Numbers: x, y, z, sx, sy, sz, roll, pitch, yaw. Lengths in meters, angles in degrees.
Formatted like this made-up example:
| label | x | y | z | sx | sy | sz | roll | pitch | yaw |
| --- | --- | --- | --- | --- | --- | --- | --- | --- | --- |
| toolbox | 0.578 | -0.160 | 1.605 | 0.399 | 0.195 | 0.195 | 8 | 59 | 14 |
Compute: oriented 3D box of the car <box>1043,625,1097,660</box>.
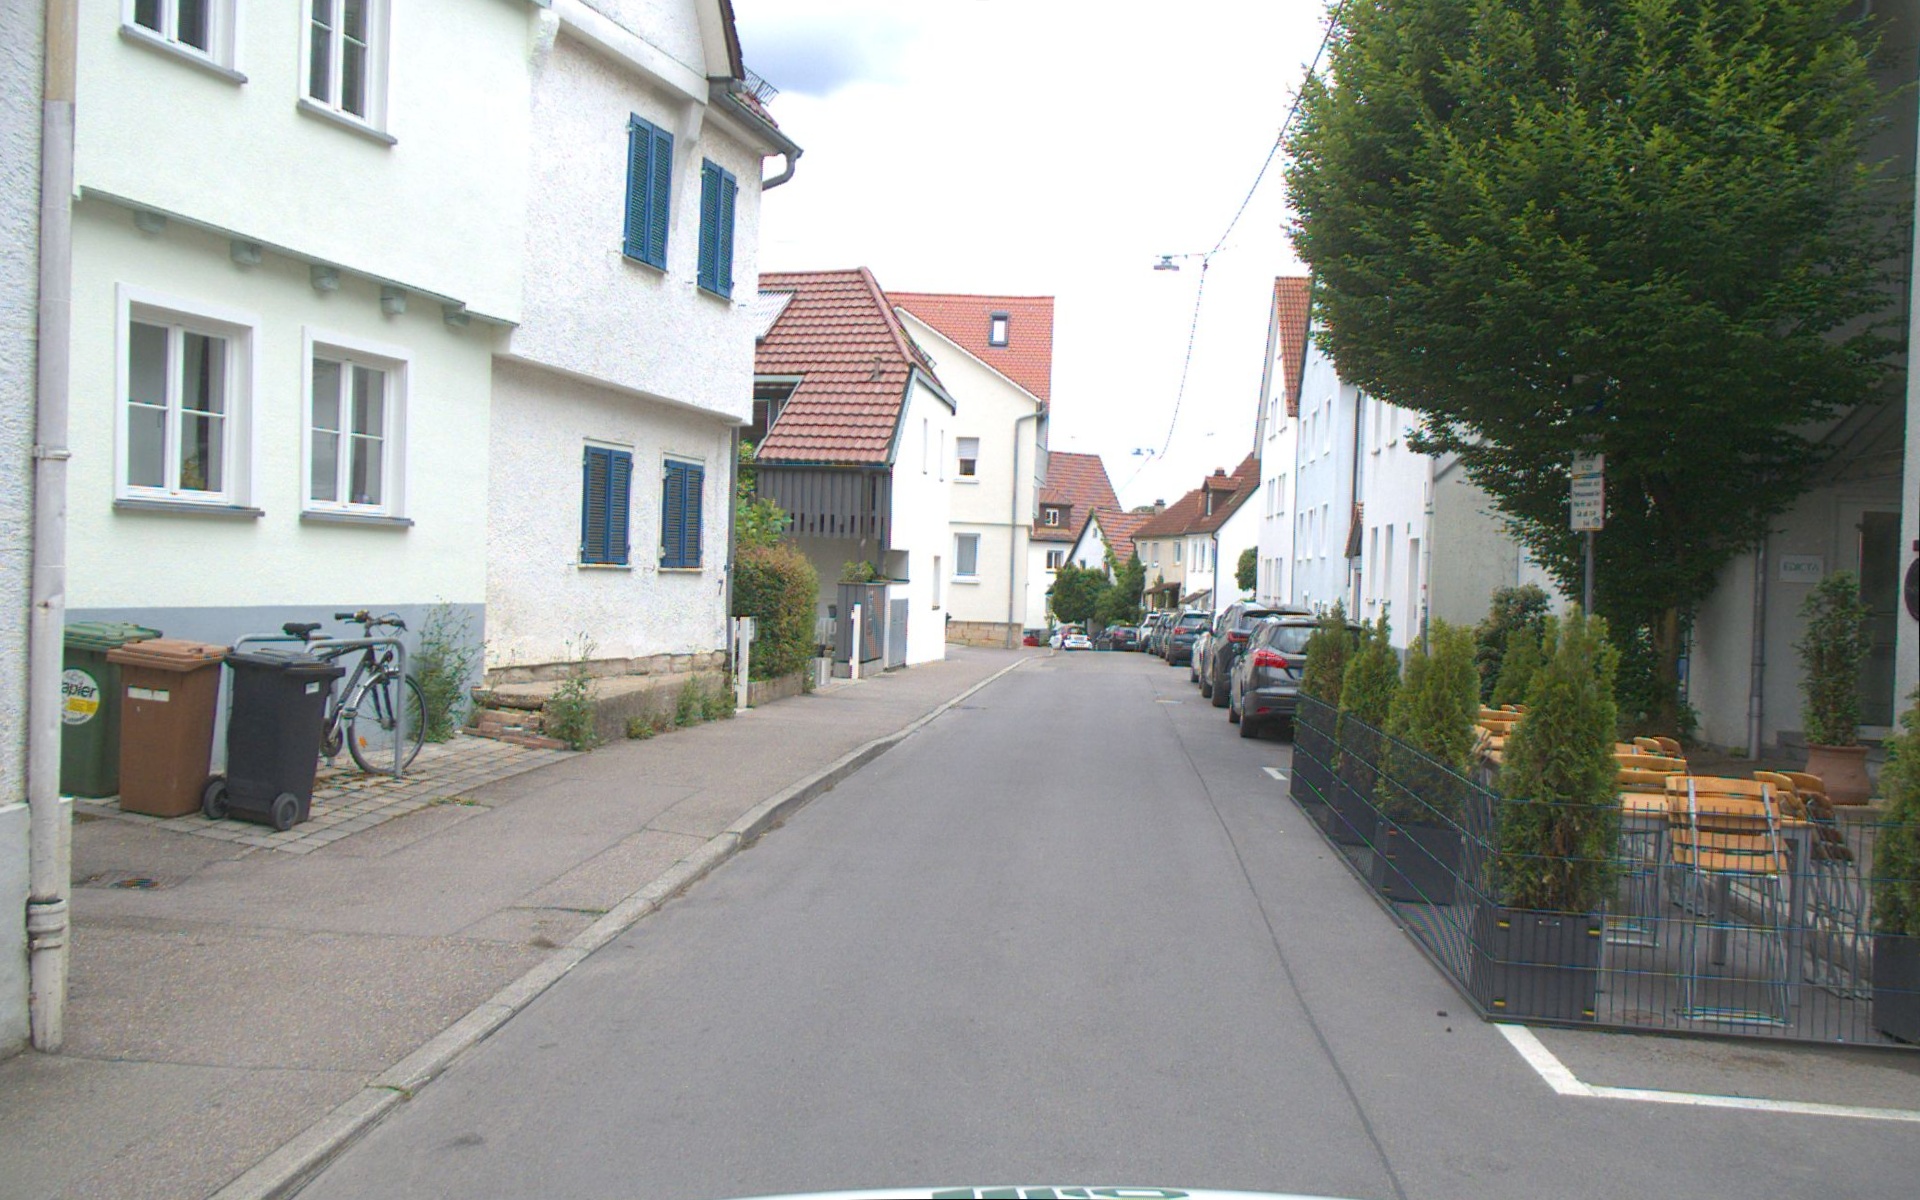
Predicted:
| label | x | y | z | sx | sy | sz | roll | pitch | yaw |
| --- | --- | --- | --- | --- | --- | --- | --- | --- | --- |
| car | 6.075 | 2.330 | 91.600 | 1.928 | 1.743 | 3.988 | 3 | 0 | -12 |

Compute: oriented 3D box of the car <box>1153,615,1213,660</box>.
| label | x | y | z | sx | sy | sz | roll | pitch | yaw |
| --- | --- | --- | --- | --- | --- | --- | --- | --- | --- |
| car | 7.565 | 1.292 | 56.370 | 1.759 | 1.376 | 4.076 | 3 | -2 | 5 |

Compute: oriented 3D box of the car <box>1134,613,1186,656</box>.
| label | x | y | z | sx | sy | sz | roll | pitch | yaw |
| --- | --- | --- | --- | --- | --- | --- | --- | --- | --- |
| car | 8.637 | 1.495 | 71.591 | 1.834 | 1.743 | 4.148 | 2 | -1 | 2 |

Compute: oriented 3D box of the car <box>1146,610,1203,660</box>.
| label | x | y | z | sx | sy | sz | roll | pitch | yaw |
| --- | --- | --- | --- | --- | --- | --- | --- | --- | --- |
| car | 7.947 | 1.305 | 61.579 | 1.700 | 1.638 | 4.001 | 5 | -1 | 3 |

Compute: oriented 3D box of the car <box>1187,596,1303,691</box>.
| label | x | y | z | sx | sy | sz | roll | pitch | yaw |
| --- | --- | --- | --- | --- | --- | --- | --- | --- | --- |
| car | 5.627 | 0.818 | 33.197 | 1.951 | 1.643 | 4.882 | 4 | 0 | 7 |

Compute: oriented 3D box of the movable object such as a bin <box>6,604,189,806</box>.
| label | x | y | z | sx | sy | sz | roll | pitch | yaw |
| --- | --- | --- | --- | --- | --- | --- | --- | --- | --- |
| movable object such as a bin | -4.860 | 0.572 | 9.341 | 0.544 | 1.016 | 0.623 | 8 | 2 | 15 |

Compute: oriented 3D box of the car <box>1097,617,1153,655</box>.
| label | x | y | z | sx | sy | sz | roll | pitch | yaw |
| --- | --- | --- | --- | --- | --- | --- | --- | --- | --- |
| car | 8.176 | 1.824 | 82.432 | 1.955 | 1.743 | 3.993 | 2 | -3 | -7 |

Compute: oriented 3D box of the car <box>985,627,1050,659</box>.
| label | x | y | z | sx | sy | sz | roll | pitch | yaw |
| --- | --- | --- | --- | --- | --- | --- | --- | --- | --- |
| car | 3.370 | 2.549 | 97.276 | 1.972 | 1.713 | 3.960 | -3 | -1 | -29 |

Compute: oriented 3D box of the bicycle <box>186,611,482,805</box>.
| label | x | y | z | sx | sy | sz | roll | pitch | yaw |
| --- | --- | --- | --- | --- | --- | --- | --- | --- | --- |
| bicycle | -3.895 | 0.625 | 10.497 | 0.433 | 1.056 | 2.093 | 7 | 2 | 19 |

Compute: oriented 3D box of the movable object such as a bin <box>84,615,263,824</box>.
| label | x | y | z | sx | sy | sz | roll | pitch | yaw |
| --- | --- | --- | --- | --- | --- | --- | --- | --- | --- |
| movable object such as a bin | -4.311 | 0.636 | 9.089 | 0.557 | 1.016 | 0.600 | 7 | 3 | 14 |

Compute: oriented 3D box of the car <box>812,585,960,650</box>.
| label | x | y | z | sx | sy | sz | roll | pitch | yaw |
| --- | --- | --- | --- | --- | --- | --- | --- | --- | --- |
| car | -2.035 | 0.508 | 46.220 | 3.652 | 1.436 | 2.122 | 5 | -1 | 10 |

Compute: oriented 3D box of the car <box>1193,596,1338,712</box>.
| label | x | y | z | sx | sy | sz | roll | pitch | yaw |
| --- | --- | --- | --- | --- | --- | --- | --- | --- | --- |
| car | 4.943 | 0.828 | 27.347 | 1.824 | 1.662 | 4.904 | 2 | 0 | 5 |

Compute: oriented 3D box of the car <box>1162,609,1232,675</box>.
| label | x | y | z | sx | sy | sz | roll | pitch | yaw |
| --- | --- | --- | --- | --- | --- | --- | --- | --- | --- |
| car | 6.601 | 1.132 | 46.344 | 1.717 | 1.656 | 4.538 | 4 | 0 | 7 |

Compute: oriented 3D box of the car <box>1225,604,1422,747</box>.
| label | x | y | z | sx | sy | sz | roll | pitch | yaw |
| --- | --- | --- | --- | --- | --- | --- | --- | --- | --- |
| car | 4.543 | 0.872 | 21.370 | 1.907 | 1.534 | 4.823 | 3 | 0 | 6 |

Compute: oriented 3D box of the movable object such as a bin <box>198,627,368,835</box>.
| label | x | y | z | sx | sy | sz | roll | pitch | yaw |
| --- | --- | --- | --- | --- | --- | --- | --- | --- | --- |
| movable object such as a bin | -3.732 | 0.703 | 9.146 | 0.542 | 1.016 | 0.587 | 7 | 3 | 16 |
